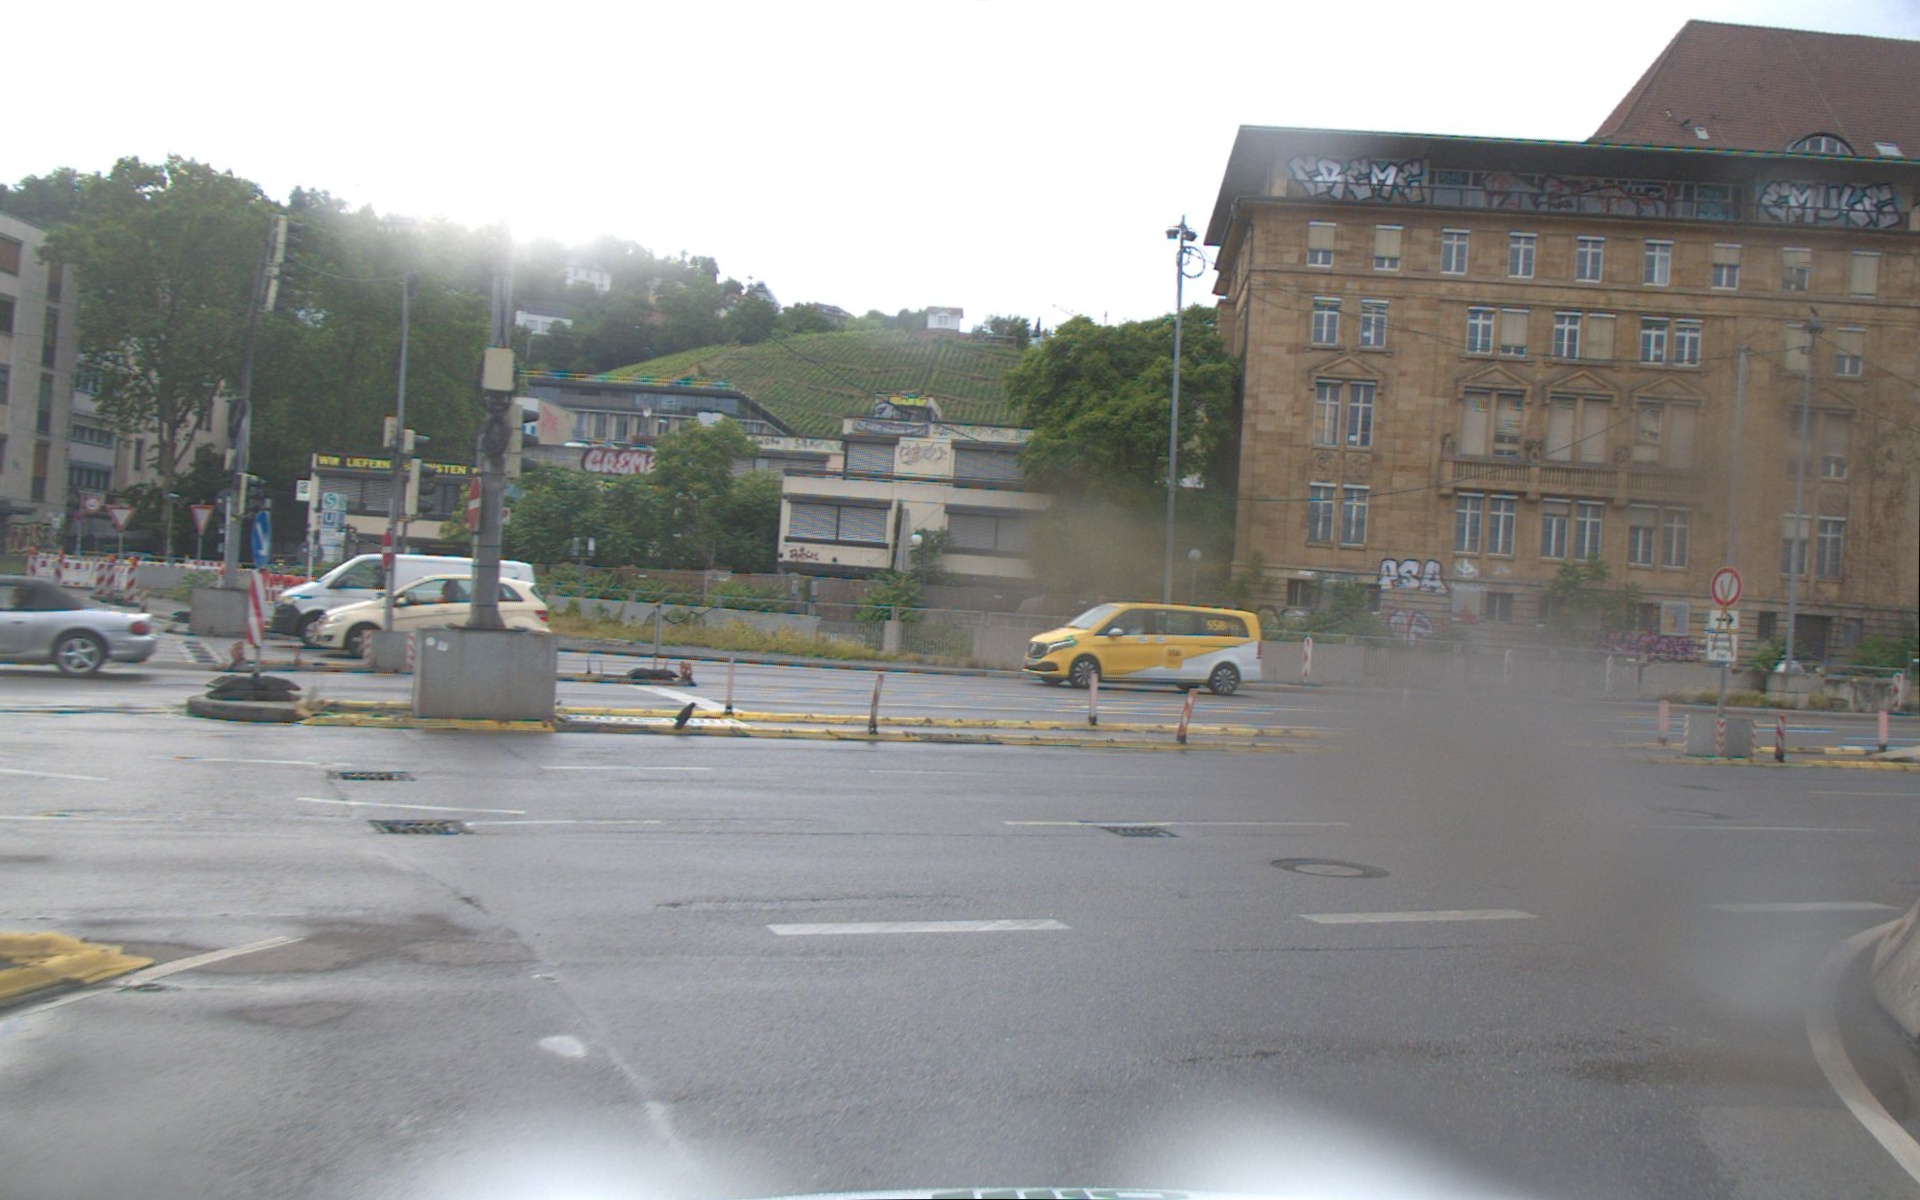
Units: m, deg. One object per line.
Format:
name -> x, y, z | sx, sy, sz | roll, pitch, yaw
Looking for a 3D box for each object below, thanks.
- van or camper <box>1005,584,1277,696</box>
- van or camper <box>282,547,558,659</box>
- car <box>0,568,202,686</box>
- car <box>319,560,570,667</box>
van or camper -> 4.001, 0.891, 36.605 | 5.509, 2.090, 2.233 | 4, 0, -21
van or camper -> -11.042, 0.066, 33.899 | 5.128, 1.927, 1.873 | 4, 0, -25
car -> -12.147, 0.283, 21.044 | 4.460, 1.332, 1.629 | 4, 0, -27
car -> -9.693, 0.249, 31.151 | 4.303, 1.702, 1.837 | 4, 0, -21
